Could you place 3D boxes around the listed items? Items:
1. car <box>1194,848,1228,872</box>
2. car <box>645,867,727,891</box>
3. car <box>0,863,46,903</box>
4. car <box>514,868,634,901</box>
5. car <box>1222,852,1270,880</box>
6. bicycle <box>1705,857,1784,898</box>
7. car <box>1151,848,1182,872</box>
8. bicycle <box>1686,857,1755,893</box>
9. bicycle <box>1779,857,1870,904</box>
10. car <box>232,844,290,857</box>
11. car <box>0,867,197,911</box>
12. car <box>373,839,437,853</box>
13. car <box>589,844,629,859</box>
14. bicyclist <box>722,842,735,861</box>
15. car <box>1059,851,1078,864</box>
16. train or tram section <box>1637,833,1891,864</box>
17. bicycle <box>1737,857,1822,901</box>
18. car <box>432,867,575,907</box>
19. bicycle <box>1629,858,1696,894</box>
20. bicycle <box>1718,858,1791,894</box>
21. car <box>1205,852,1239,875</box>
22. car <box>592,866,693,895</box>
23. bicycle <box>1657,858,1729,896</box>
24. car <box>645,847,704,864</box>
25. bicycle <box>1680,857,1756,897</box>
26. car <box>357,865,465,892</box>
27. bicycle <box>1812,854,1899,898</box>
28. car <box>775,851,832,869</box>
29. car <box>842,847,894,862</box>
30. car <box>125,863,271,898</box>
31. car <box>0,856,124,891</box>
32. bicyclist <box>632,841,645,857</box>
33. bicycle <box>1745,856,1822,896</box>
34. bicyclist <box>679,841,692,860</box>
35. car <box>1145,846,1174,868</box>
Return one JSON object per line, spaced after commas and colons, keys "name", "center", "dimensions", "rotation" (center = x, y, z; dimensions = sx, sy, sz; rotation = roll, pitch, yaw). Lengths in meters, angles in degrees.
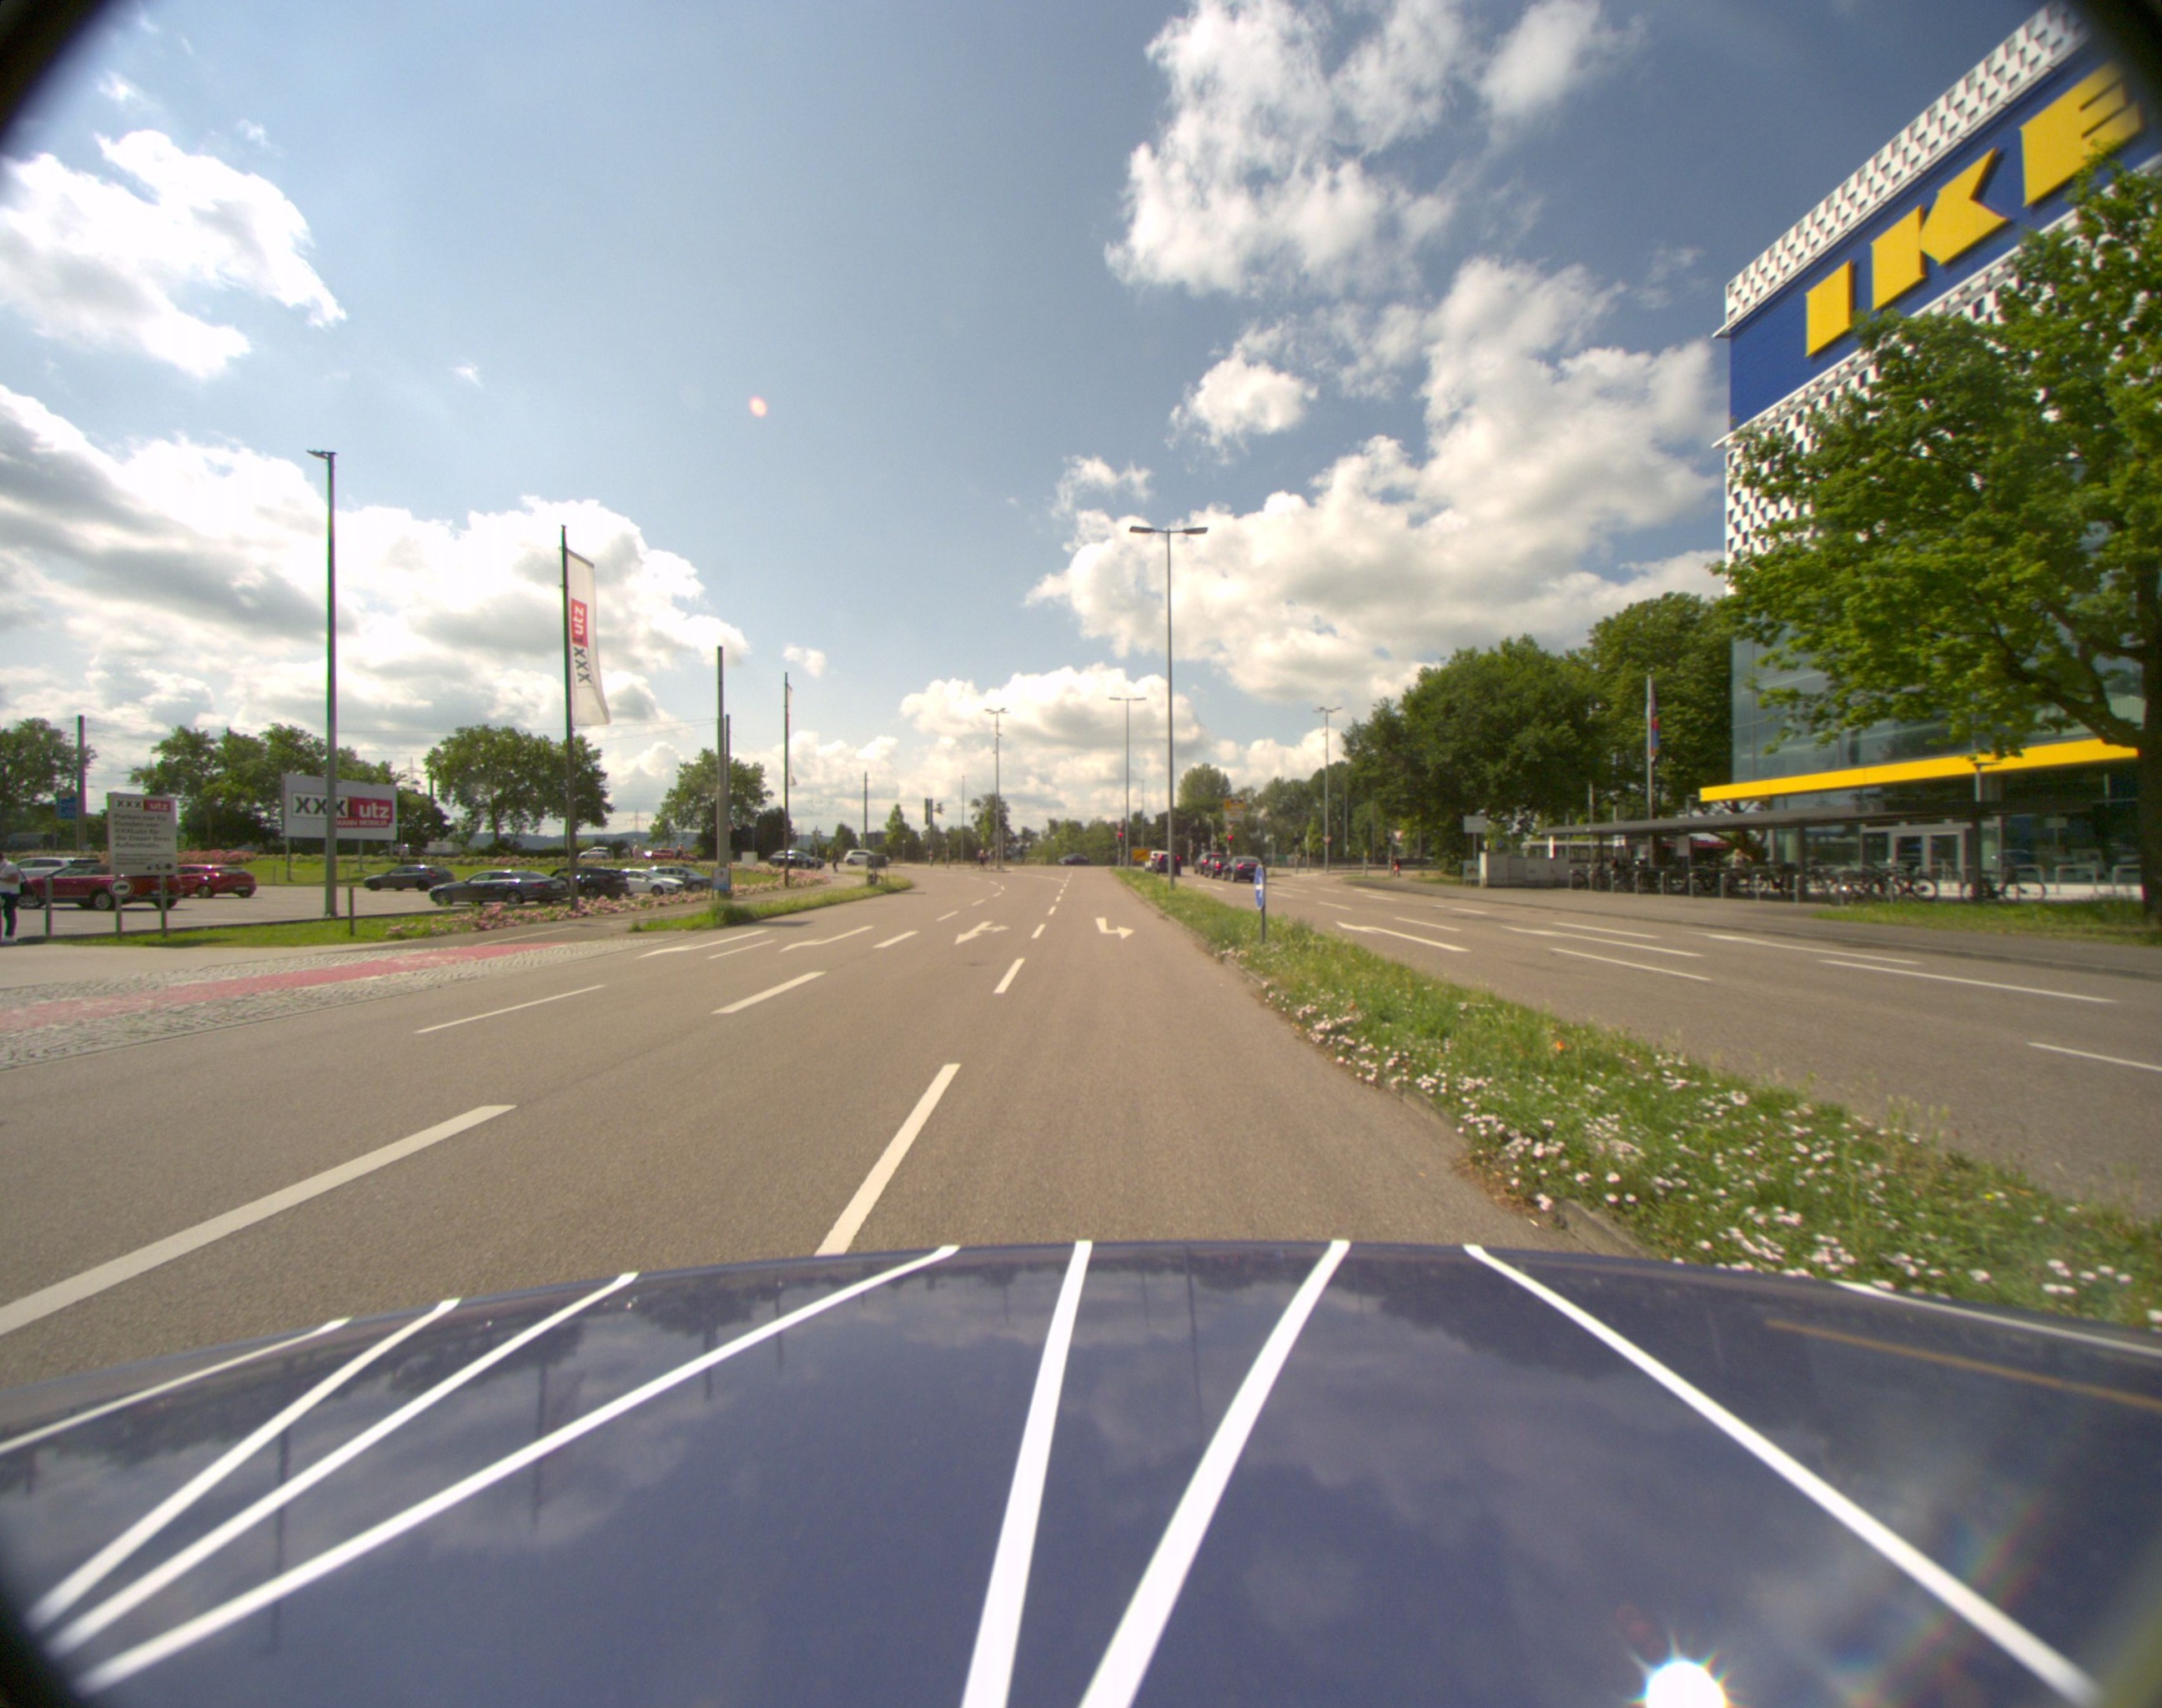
{"name": "car", "center": [9.556, 0.381, 56.289], "dimensions": [1.775, 1.606, 3.999], "rotation": [2, 1, 0]}
{"name": "car", "center": [-23.596, 1.484, 45.461], "dimensions": [3.997, 1.410, 1.715], "rotation": [0, 1, -1]}
{"name": "car", "center": [-38.531, 0.962, 26.049], "dimensions": [4.033, 1.354, 1.603], "rotation": [1, -1, 2]}
{"name": "car", "center": [-23.708, 1.394, 35.613], "dimensions": [4.369, 1.408, 1.857], "rotation": [-1, 0, 1]}
{"name": "car", "center": [9.183, 0.616, 42.651], "dimensions": [1.668, 1.413, 4.518], "rotation": [2, 0, 0]}
{"name": "bicycle", "center": [20.904, 0.741, 23.967], "dimensions": [1.930, 1.265, 0.630], "rotation": [-1, 0, 0]}
{"name": "car", "center": [5.752, 0.370, 51.565], "dimensions": [1.608, 1.484, 4.131], "rotation": [2, 1, 0]}
{"name": "bicycle", "center": [23.047, 0.756, 27.414], "dimensions": [1.930, 1.265, 0.630], "rotation": [-1, 0, 0]}
{"name": "bicycle", "center": [20.831, 0.740, 21.309], "dimensions": [1.930, 1.265, 0.630], "rotation": [-1, 0, 0]}
{"name": "car", "center": [-98.290, -0.414, 91.119], "dimensions": [4.779, 1.499, 1.968], "rotation": [0, -2, 0]}
{"name": "car", "center": [-32.882, 1.155, 25.498], "dimensions": [4.369, 1.354, 1.847], "rotation": [1, -1, 2]}
{"name": "car", "center": [-77.887, -0.866, 87.573], "dimensions": [5.251, 1.565, 1.998], "rotation": [0, 0, -8]}
{"name": "car", "center": [-55.321, -0.318, 89.052], "dimensions": [3.491, 1.448, 1.699], "rotation": [-3, 2, -8]}
{"name": "bicyclist", "center": [-28.076, -0.194, 60.579], "dimensions": [0.696, 1.526, 0.621], "rotation": [-1, 0, 5]}
{"name": "car", "center": [-1.392, 0.380, 85.613], "dimensions": [1.796, 1.311, 4.164], "rotation": [-1, 0, 4]}
{"name": "train or tram section", "center": [77.423, -0.594, 86.489], "dimensions": [25.113, 3.014, 4.530], "rotation": [1, 0, -1]}
{"name": "bicycle", "center": [20.733, 0.741, 22.576], "dimensions": [1.930, 1.265, 0.630], "rotation": [-1, 0, 0]}
{"name": "car", "center": [-23.217, 1.320, 30.627], "dimensions": [4.369, 1.468, 1.857], "rotation": [-1, 0, 2]}
{"name": "bicycle", "center": [20.941, 0.779, 27.384], "dimensions": [1.930, 1.265, 0.630], "rotation": [-1, 0, 0]}
{"name": "bicycle", "center": [23.058, 0.754, 26.040], "dimensions": [1.930, 1.176, 0.630], "rotation": [-1, 0, 0]}
{"name": "car", "center": [8.927, 0.587, 48.507], "dimensions": [1.415, 1.383, 4.096], "rotation": [2, 0, 1]}
{"name": "car", "center": [-23.461, 1.408, 40.789], "dimensions": [4.369, 1.431, 1.796], "rotation": [0, 0, 1]}
{"name": "bicycle", "center": [21.019, 0.785, 26.120], "dimensions": [1.930, 1.265, 0.630], "rotation": [-1, 0, 0]}
{"name": "car", "center": [-35.084, 0.128, 65.633], "dimensions": [4.245, 1.352, 1.749], "rotation": [1, 1, 3]}
{"name": "bicycle", "center": [20.978, 0.758, 25.037], "dimensions": [1.930, 1.265, 0.630], "rotation": [-1, 0, 0]}
{"name": "car", "center": [-38.166, 1.373, 43.353], "dimensions": [4.369, 1.400, 2.050], "rotation": [2, -1, 2]}
{"name": "bicycle", "center": [22.988, 0.659, 22.569], "dimensions": [1.930, 1.265, 0.630], "rotation": [-1, 0, 0]}
{"name": "car", "center": [-23.199, 0.479, 63.541], "dimensions": [4.192, 1.474, 1.919], "rotation": [1, 1, 19]}
{"name": "car", "center": [-20.386, 0.018, 72.892], "dimensions": [4.495, 1.404, 2.013], "rotation": [0, 0, -2]}
{"name": "car", "center": [-38.682, 1.162, 33.361], "dimensions": [4.369, 1.418, 1.847], "rotation": [1, -1, 2]}
{"name": "car", "center": [-48.732, 0.911, 36.035], "dimensions": [4.236, 1.578, 1.853], "rotation": [1, -1, -1]}
{"name": "bicyclist", "center": [-35.668, -0.394, 61.243], "dimensions": [0.687, 1.317, 0.593], "rotation": [0, 0, -2]}
{"name": "bicycle", "center": [23.133, 0.711, 25.047], "dimensions": [1.930, 1.265, 0.630], "rotation": [-1, 0, 0]}
{"name": "bicyclist", "center": [-31.818, -0.288, 61.121], "dimensions": [0.742, 1.466, 0.651], "rotation": [-1, 0, 2]}
{"name": "car", "center": [6.019, 0.207, 58.492], "dimensions": [1.712, 1.610, 4.377], "rotation": [2, 1, 0]}
